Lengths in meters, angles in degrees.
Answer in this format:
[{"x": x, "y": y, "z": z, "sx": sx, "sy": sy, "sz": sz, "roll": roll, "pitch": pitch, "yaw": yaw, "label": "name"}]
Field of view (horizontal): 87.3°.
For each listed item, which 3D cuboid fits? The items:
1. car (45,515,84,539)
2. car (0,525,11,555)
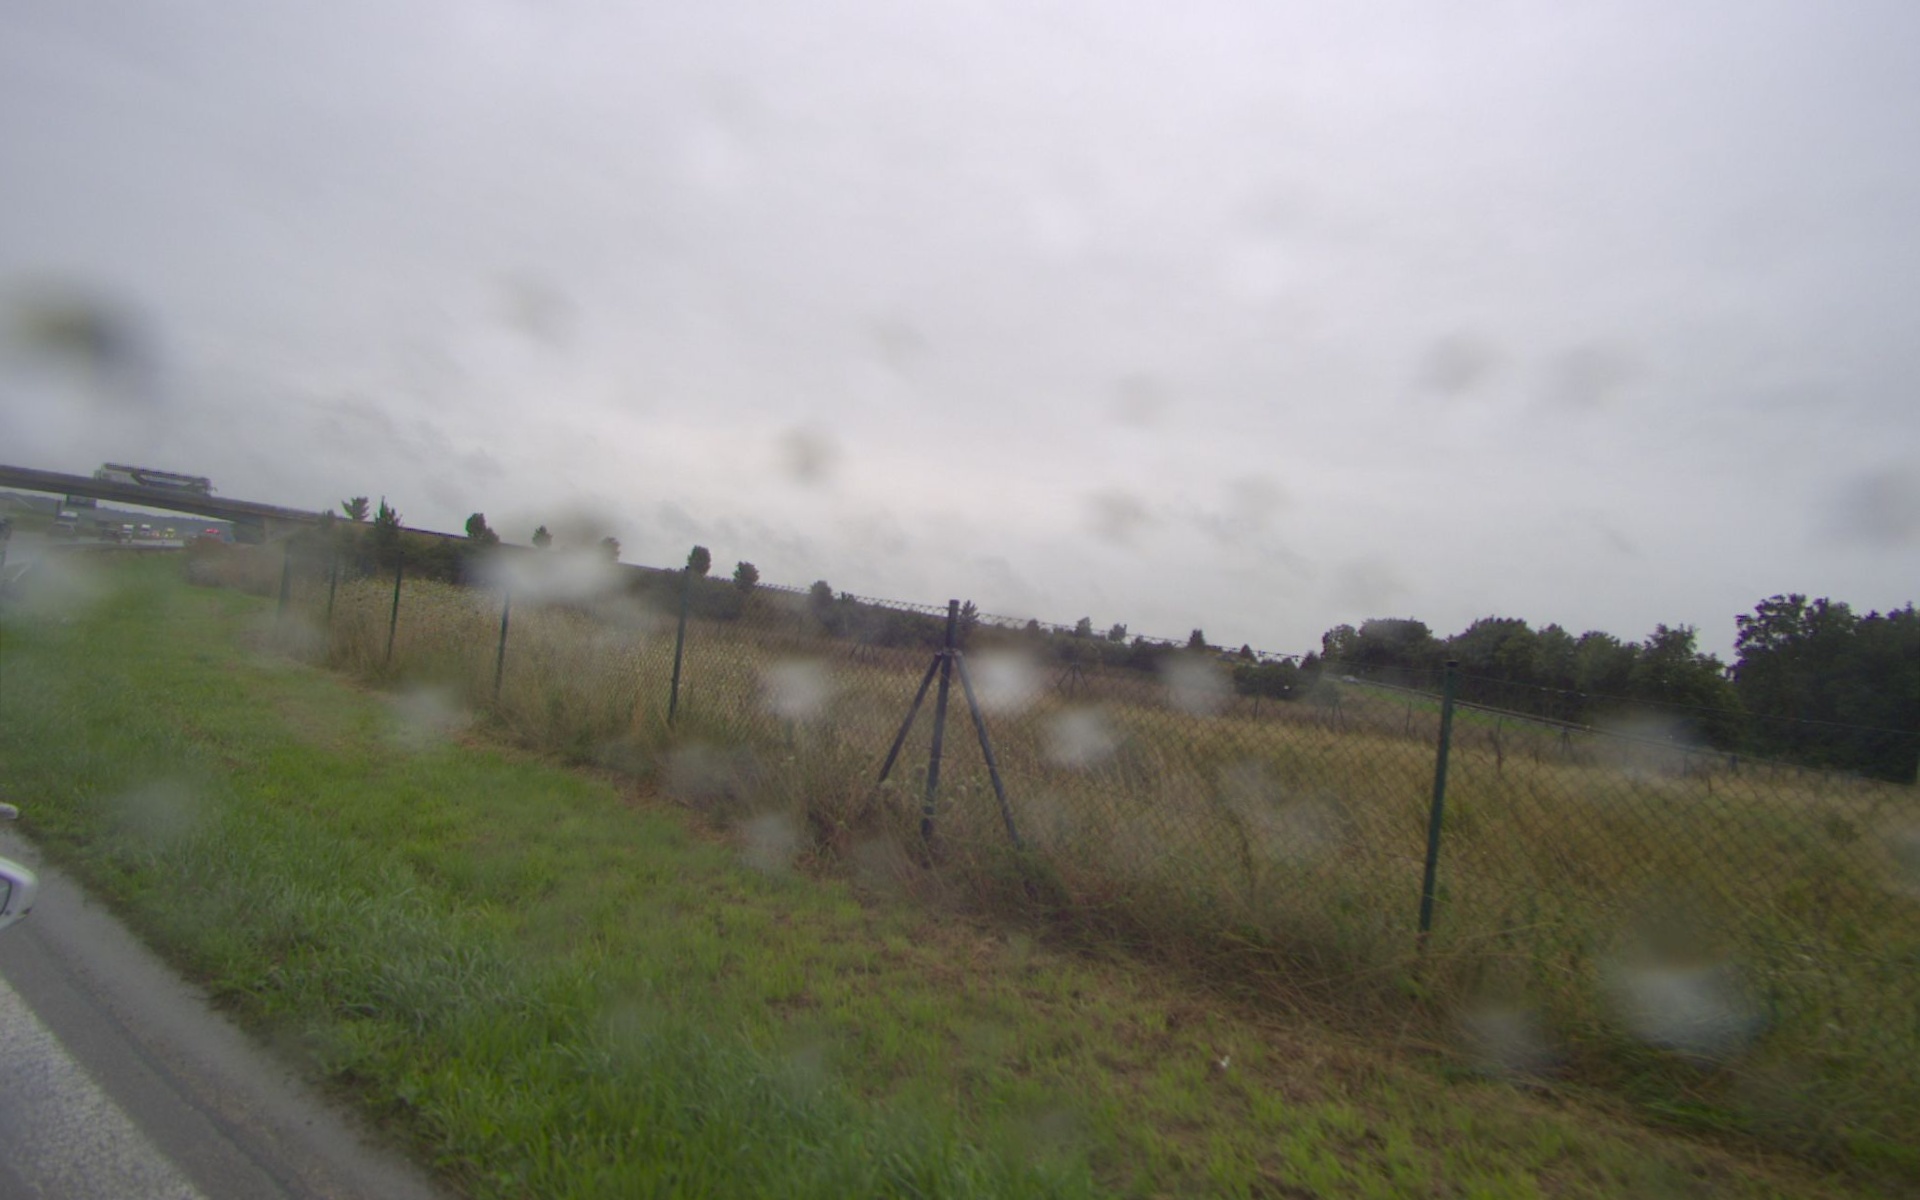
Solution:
[{"x": -79.298, "y": -6.409, "z": 89.129, "sx": 2.044, "sy": 1.654, "sz": 4.307, "roll": 10, "pitch": -3, "yaw": -37, "label": "car"}, {"x": -54.610, "y": -3.524, "z": 55.793, "sx": 2.136, "sy": 1.653, "sz": 4.551, "roll": 10, "pitch": -4, "yaw": -37, "label": "car"}]
